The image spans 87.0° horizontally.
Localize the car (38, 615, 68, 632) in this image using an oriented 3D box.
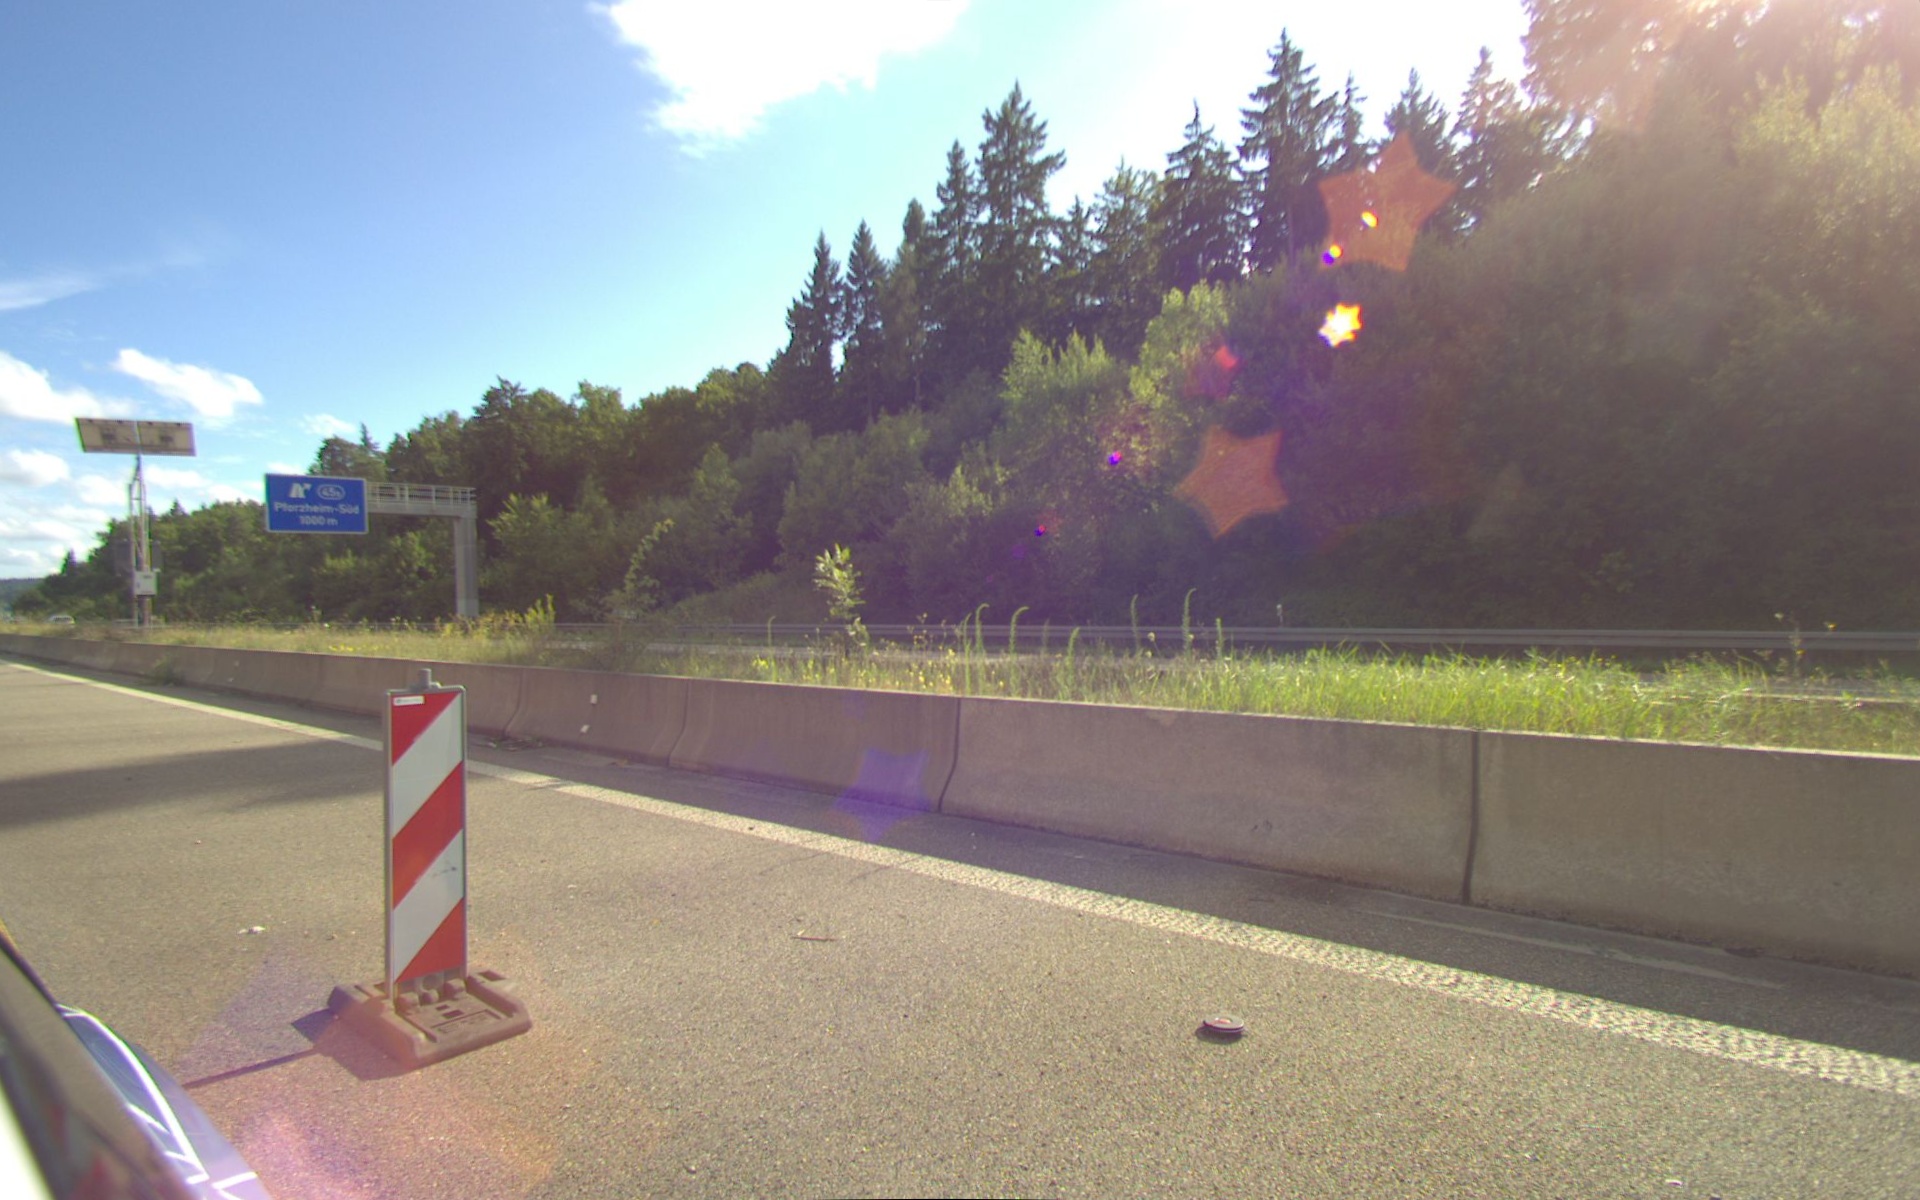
[{"bbox_3d":[-86.622,2.240,96.613,3.909,1.593,1.644,-1,0,40],"label":"car"}]
